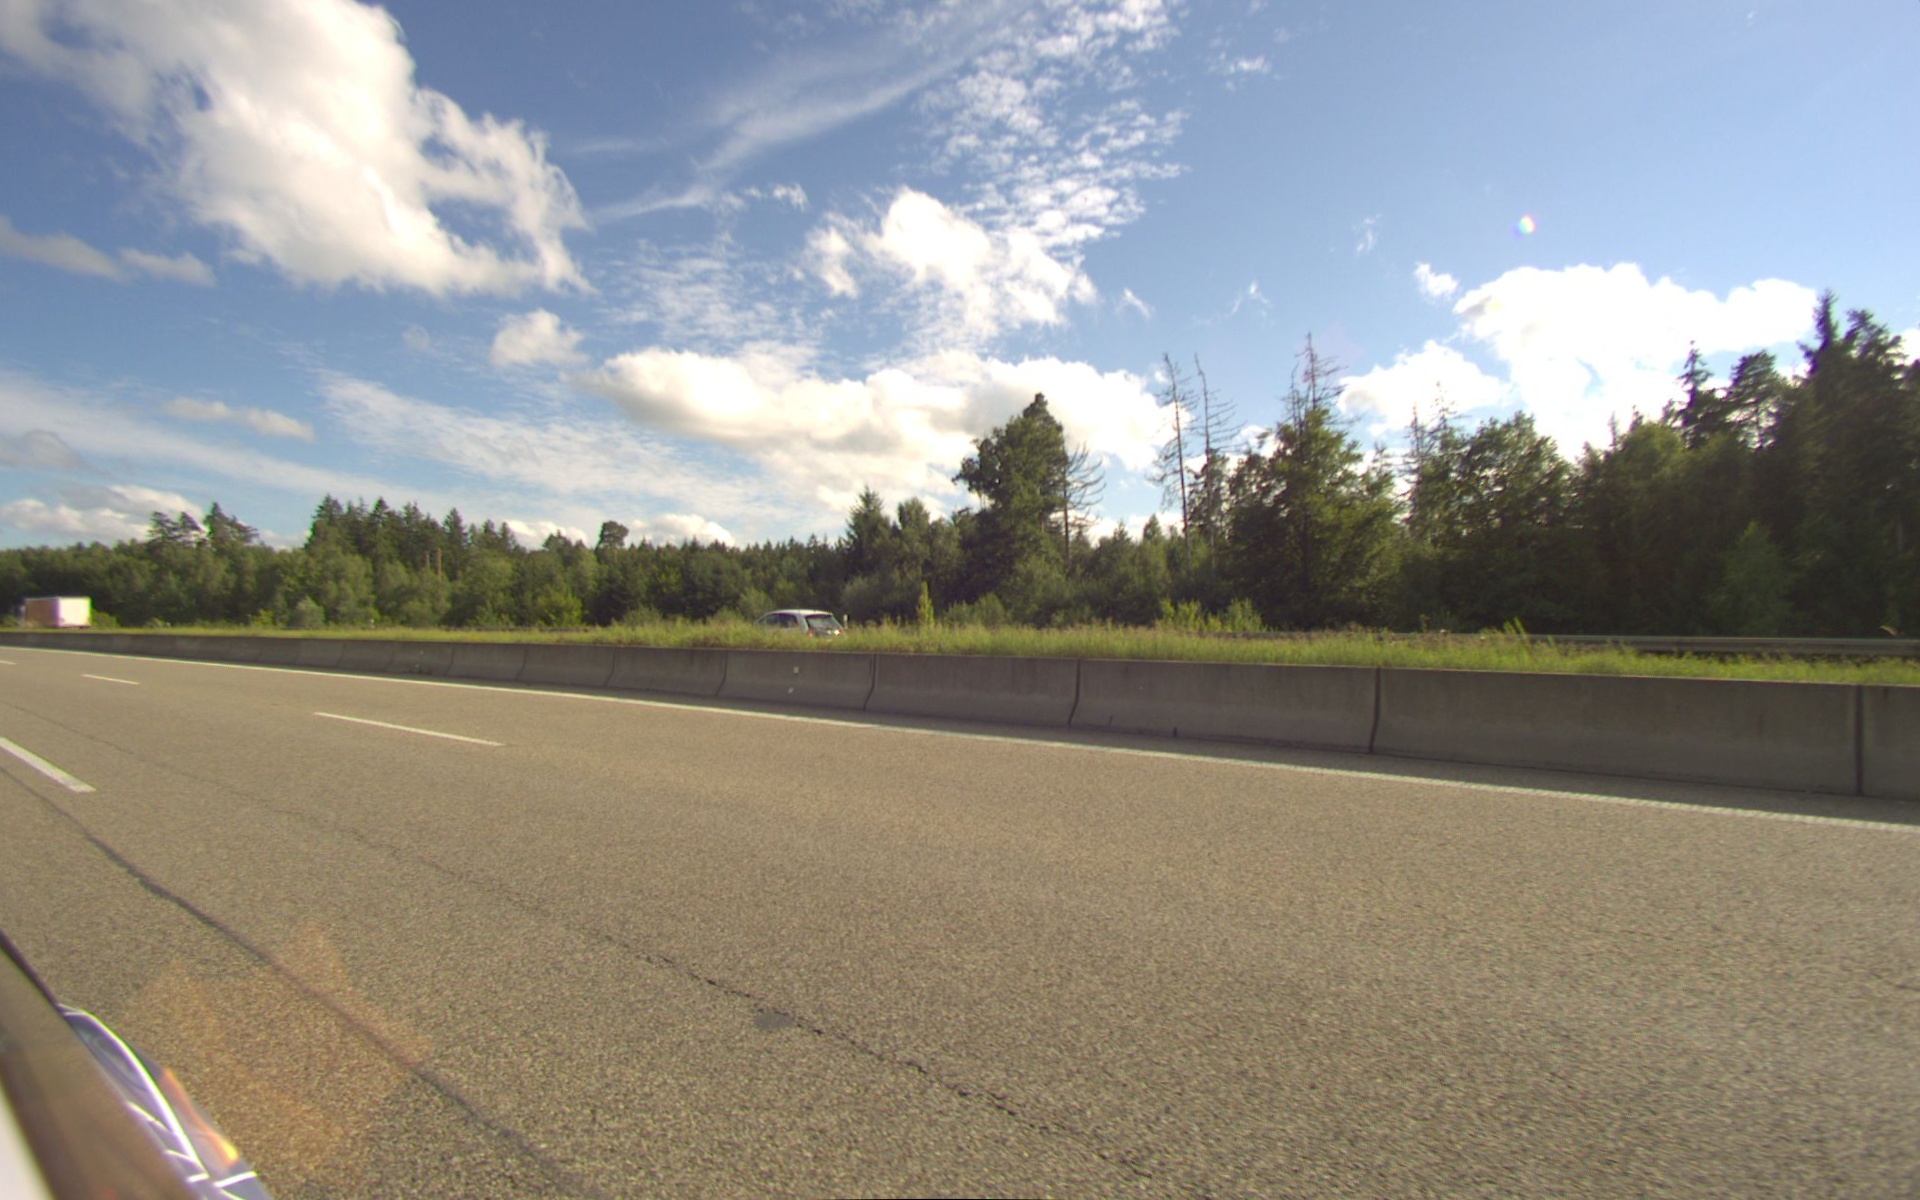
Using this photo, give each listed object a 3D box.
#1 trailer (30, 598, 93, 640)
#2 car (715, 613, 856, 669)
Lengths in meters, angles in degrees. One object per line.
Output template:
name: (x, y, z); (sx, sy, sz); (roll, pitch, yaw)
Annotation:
trailer: (-94.774, 2.048, 106.689); (12.778, 4.140, 2.991); (-2, -1, 39)
car: (-4.966, 1.125, 28.603); (3.998, 1.468, 1.822); (-1, -1, 41)
